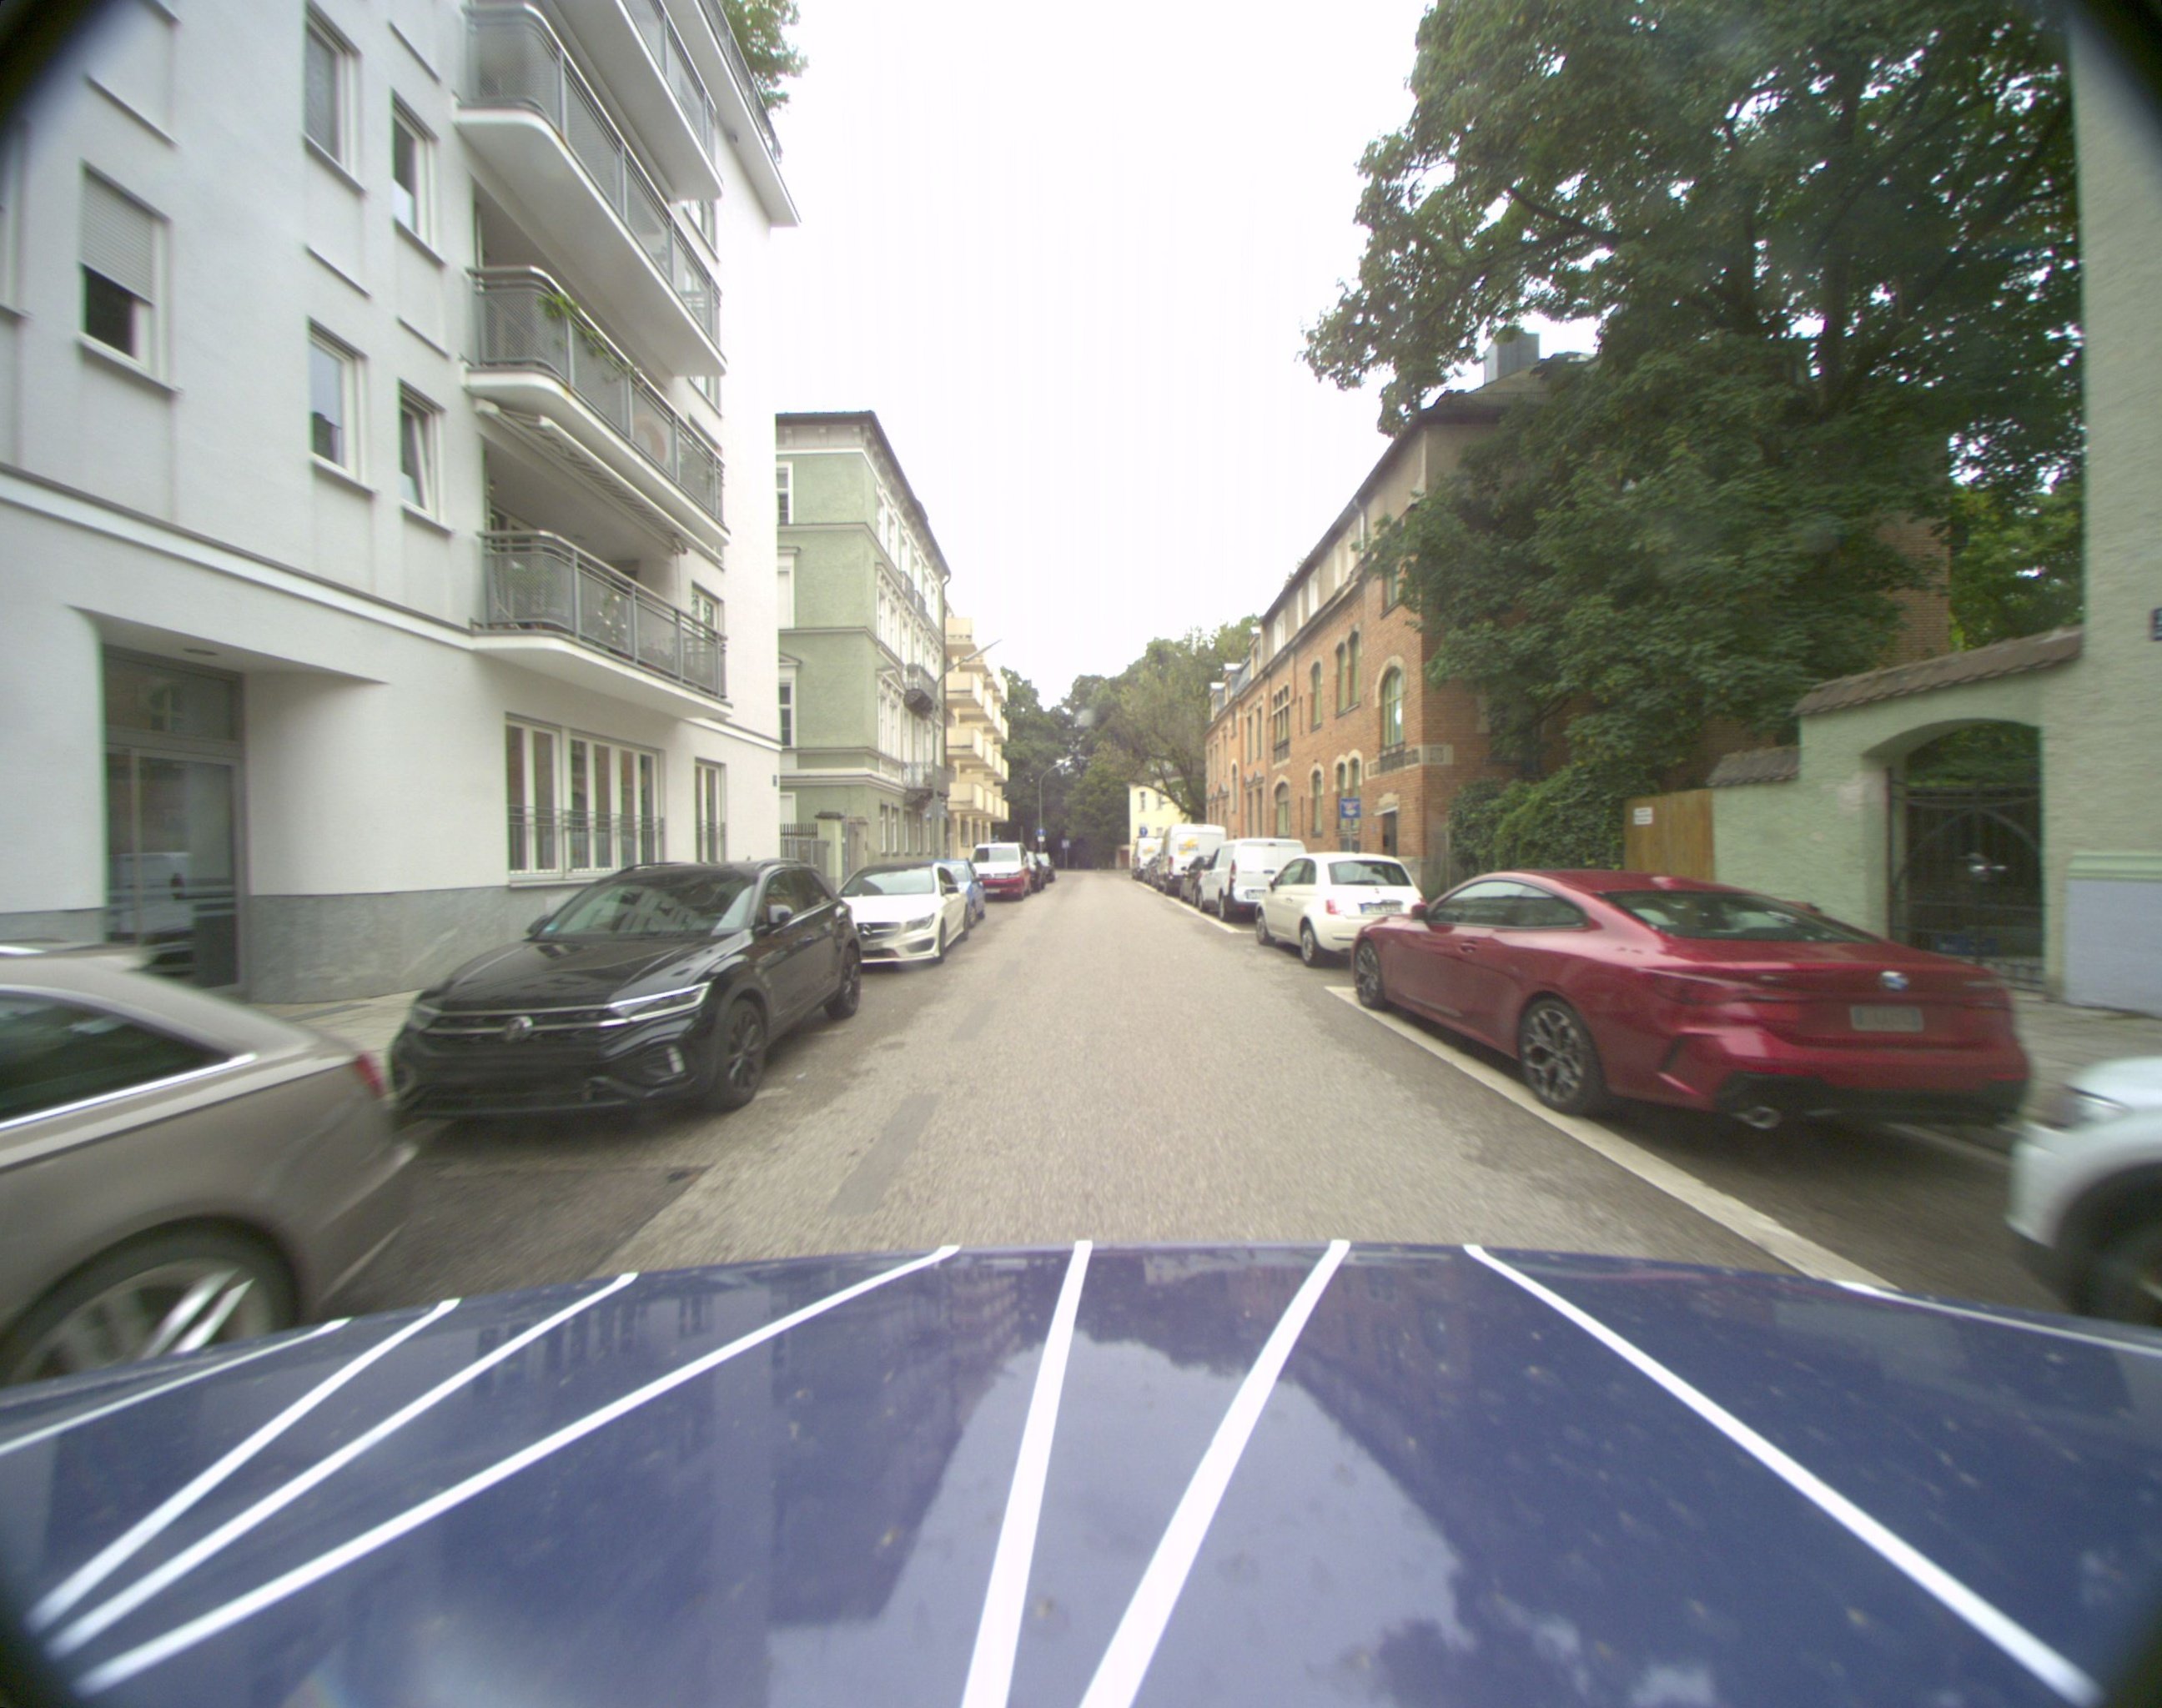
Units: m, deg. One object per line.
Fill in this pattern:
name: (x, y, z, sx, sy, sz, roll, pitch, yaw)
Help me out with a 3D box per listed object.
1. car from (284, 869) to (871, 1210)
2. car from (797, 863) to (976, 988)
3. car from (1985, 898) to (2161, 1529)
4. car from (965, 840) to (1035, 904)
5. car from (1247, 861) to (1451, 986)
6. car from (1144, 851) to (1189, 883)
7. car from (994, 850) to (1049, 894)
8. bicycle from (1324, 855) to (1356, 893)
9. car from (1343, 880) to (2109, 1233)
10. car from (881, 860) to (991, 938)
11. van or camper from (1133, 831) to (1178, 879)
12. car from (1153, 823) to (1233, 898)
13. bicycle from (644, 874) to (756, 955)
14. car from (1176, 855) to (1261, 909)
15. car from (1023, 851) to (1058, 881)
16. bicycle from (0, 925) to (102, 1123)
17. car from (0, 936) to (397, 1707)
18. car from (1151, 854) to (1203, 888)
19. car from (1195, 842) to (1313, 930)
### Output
car: (-3.055, 0.962, 5.807, 1.842, 1.524, 4.020, -2, 0, -2)
car: (-2.765, 0.929, 11.829, 1.668, 1.458, 4.375, -2, 0, -1)
car: (3.487, 0.890, 0.162, 1.683, 1.521, 4.107, 0, 0, 0)
car: (-2.744, 0.574, 26.751, 1.858, 2.019, 4.783, -2, 0, 1)
car: (3.630, 0.864, 10.969, 1.631, 1.459, 3.520, 1, 0, -1)
car: (4.232, 0.630, 38.157, 1.769, 1.491, 4.080, 0, 0, 0)
car: (-2.453, 0.708, 32.290, 1.860, 1.701, 4.697, -2, 0, 1)
bicycle: (8.042, 0.606, 23.643, 0.435, 1.078, 1.471, -2, 1, 0)
car: (3.524, 0.948, 5.459, 1.750, 1.360, 4.402, 0, 0, 0)
car: (-3.032, 0.885, 16.631, 1.719, 1.415, 3.719, -2, 0, -1)
van or camper: (4.252, 0.071, 44.159, 2.116, 2.646, 4.957, 0, 0, 0)
car: (3.962, 0.219, 27.724, 2.117, 2.461, 5.231, 0, 0, 0)
bicycle: (-6.245, 0.951, 12.585, 0.803, 1.165, 1.973, -1, 0, 1)
car: (3.908, 0.738, 22.238, 1.719, 1.412, 4.166, 0, 0, 0)
car: (-2.286, 0.649, 43.811, 1.771, 1.607, 4.263, -1, 0, 0)
bicycle: (-6.579, 1.015, 3.964, 0.570, 1.091, 1.810, 3, 0, 1)
car: (-3.083, 1.046, 0.113, 1.796, 1.473, 4.602, -2, 0, -1)
car: (4.122, 0.692, 33.093, 1.769, 1.407, 3.792, 0, 0, 0)
car: (3.786, 0.649, 17.357, 1.719, 1.745, 4.250, 0, 0, 0)
